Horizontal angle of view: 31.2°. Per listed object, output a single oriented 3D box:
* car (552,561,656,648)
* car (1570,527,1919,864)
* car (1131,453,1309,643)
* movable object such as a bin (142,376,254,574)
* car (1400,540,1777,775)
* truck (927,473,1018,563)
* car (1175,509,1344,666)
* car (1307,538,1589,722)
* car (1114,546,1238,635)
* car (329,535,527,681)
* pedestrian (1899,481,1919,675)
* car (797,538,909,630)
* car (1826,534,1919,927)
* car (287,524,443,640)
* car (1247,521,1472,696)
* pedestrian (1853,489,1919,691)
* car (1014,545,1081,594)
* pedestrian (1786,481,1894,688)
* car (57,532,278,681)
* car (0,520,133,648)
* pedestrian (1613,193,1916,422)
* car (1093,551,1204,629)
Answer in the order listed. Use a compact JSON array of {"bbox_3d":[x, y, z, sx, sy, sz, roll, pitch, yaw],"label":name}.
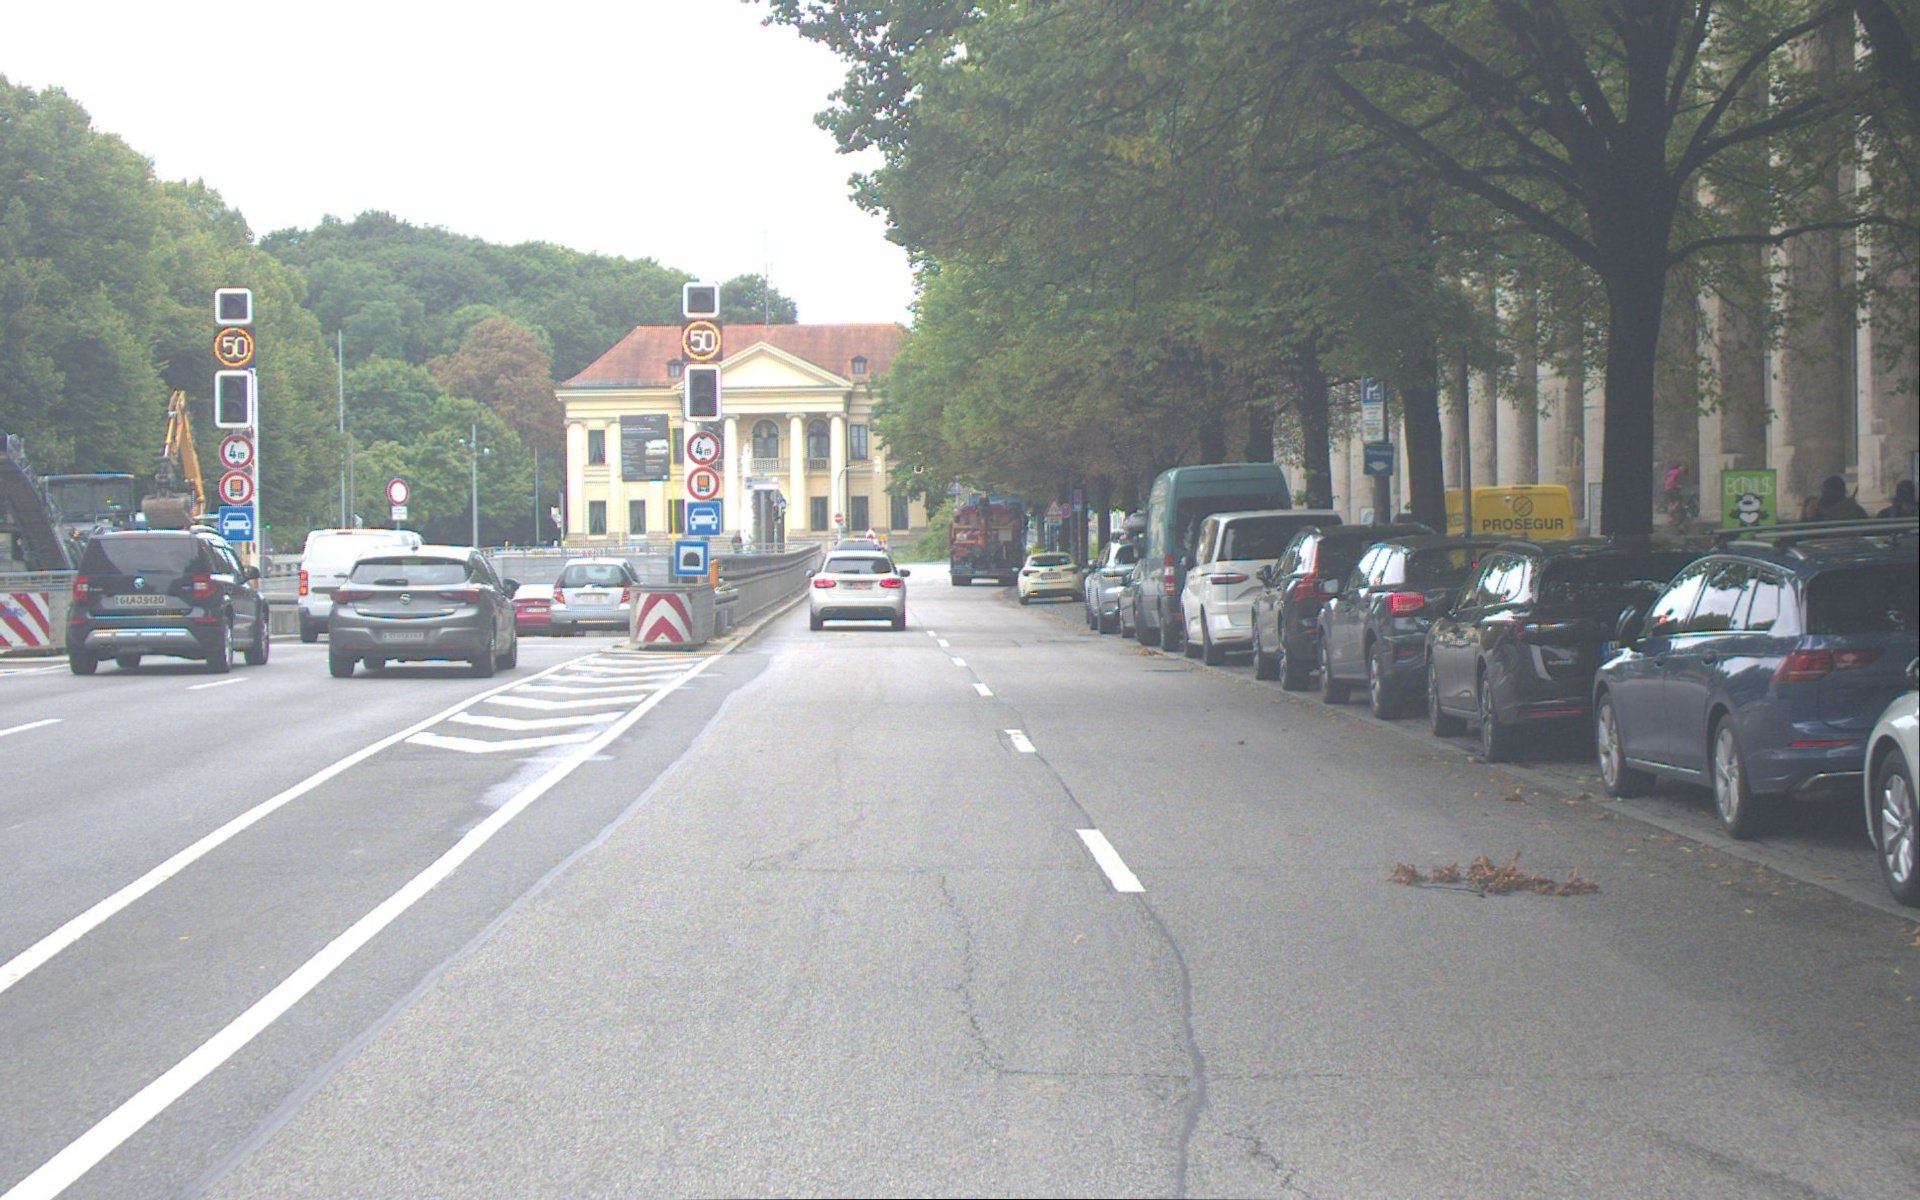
[{"bbox_3d":[-7.128,0.061,69.084,1.779,1.648,4.001,1,1,-2],"label":"car"},{"bbox_3d":[4.559,0.400,18.345,1.724,1.544,4.586,-1,1,-1],"label":"car"},{"bbox_3d":[3.744,-0.772,50.389,1.993,2.634,4.878,1,1,-3],"label":"car"},{"bbox_3d":[-25.666,-4.175,115.965,2.699,6.488,5.176,1,1,-1],"label":"movable object such as a bin"},{"bbox_3d":[4.318,0.323,24.335,1.724,1.459,4.776,-1,1,-1],"label":"car"},{"bbox_3d":[0.433,-3.195,134.886,3.325,3.355,8.663,1,1,-1],"label":"truck"},{"bbox_3d":[3.750,-0.188,43.651,1.724,1.861,4.028,-1,1,-1],"label":"car"},{"bbox_3d":[4.178,0.210,30.005,1.822,1.459,4.028,-1,1,-1],"label":"car"},{"bbox_3d":[3.513,-0.176,56.433,1.724,1.359,4.028,-1,1,-1],"label":"car"},{"bbox_3d":[-5.941,0.050,38.762,1.710,1.546,4.000,1,1,-2],"label":"car"},{"bbox_3d":[9.780,-0.219,33.941,0.779,1.903,0.771,1,1,-1],"label":"pedestrian"},{"bbox_3d":[-2.033,-0.328,64.453,1.779,1.639,4.001,0,1,-6],"label":"car"},{"bbox_3d":[4.700,0.520,12.511,1.827,1.544,4.752,-1,1,-1],"label":"car"},{"bbox_3d":[-9.991,-0.332,58.043,1.898,1.841,4.956,-1,1,-2],"label":"car"},{"bbox_3d":[4.048,0.039,35.480,1.724,1.659,4.590,-1,1,-1],"label":"car"},{"bbox_3d":[9.063,-0.099,32.945,0.779,1.903,0.771,1,1,-1],"label":"pedestrian"},{"bbox_3d":[2.445,-0.879,97.180,1.724,1.319,4.028,-1,1,-1],"label":"car"},{"bbox_3d":[8.188,-0.149,32.002,0.779,1.903,0.771,1,1,-1],"label":"pedestrian"},{"bbox_3d":[-9.233,0.043,40.338,1.722,1.631,4.205,-1,1,-2],"label":"car"},{"bbox_3d":[-12.308,-0.226,45.512,1.993,1.590,4.001,-1,1,-4],"label":"car"},{"bbox_3d":[7.961,-2.854,34.381,1.993,2.007,4.000,1,1,-1],"label":"pedestrian"},{"bbox_3d":[3.372,-0.206,62.096,1.724,1.319,4.028,-1,1,-1],"label":"car"}]
